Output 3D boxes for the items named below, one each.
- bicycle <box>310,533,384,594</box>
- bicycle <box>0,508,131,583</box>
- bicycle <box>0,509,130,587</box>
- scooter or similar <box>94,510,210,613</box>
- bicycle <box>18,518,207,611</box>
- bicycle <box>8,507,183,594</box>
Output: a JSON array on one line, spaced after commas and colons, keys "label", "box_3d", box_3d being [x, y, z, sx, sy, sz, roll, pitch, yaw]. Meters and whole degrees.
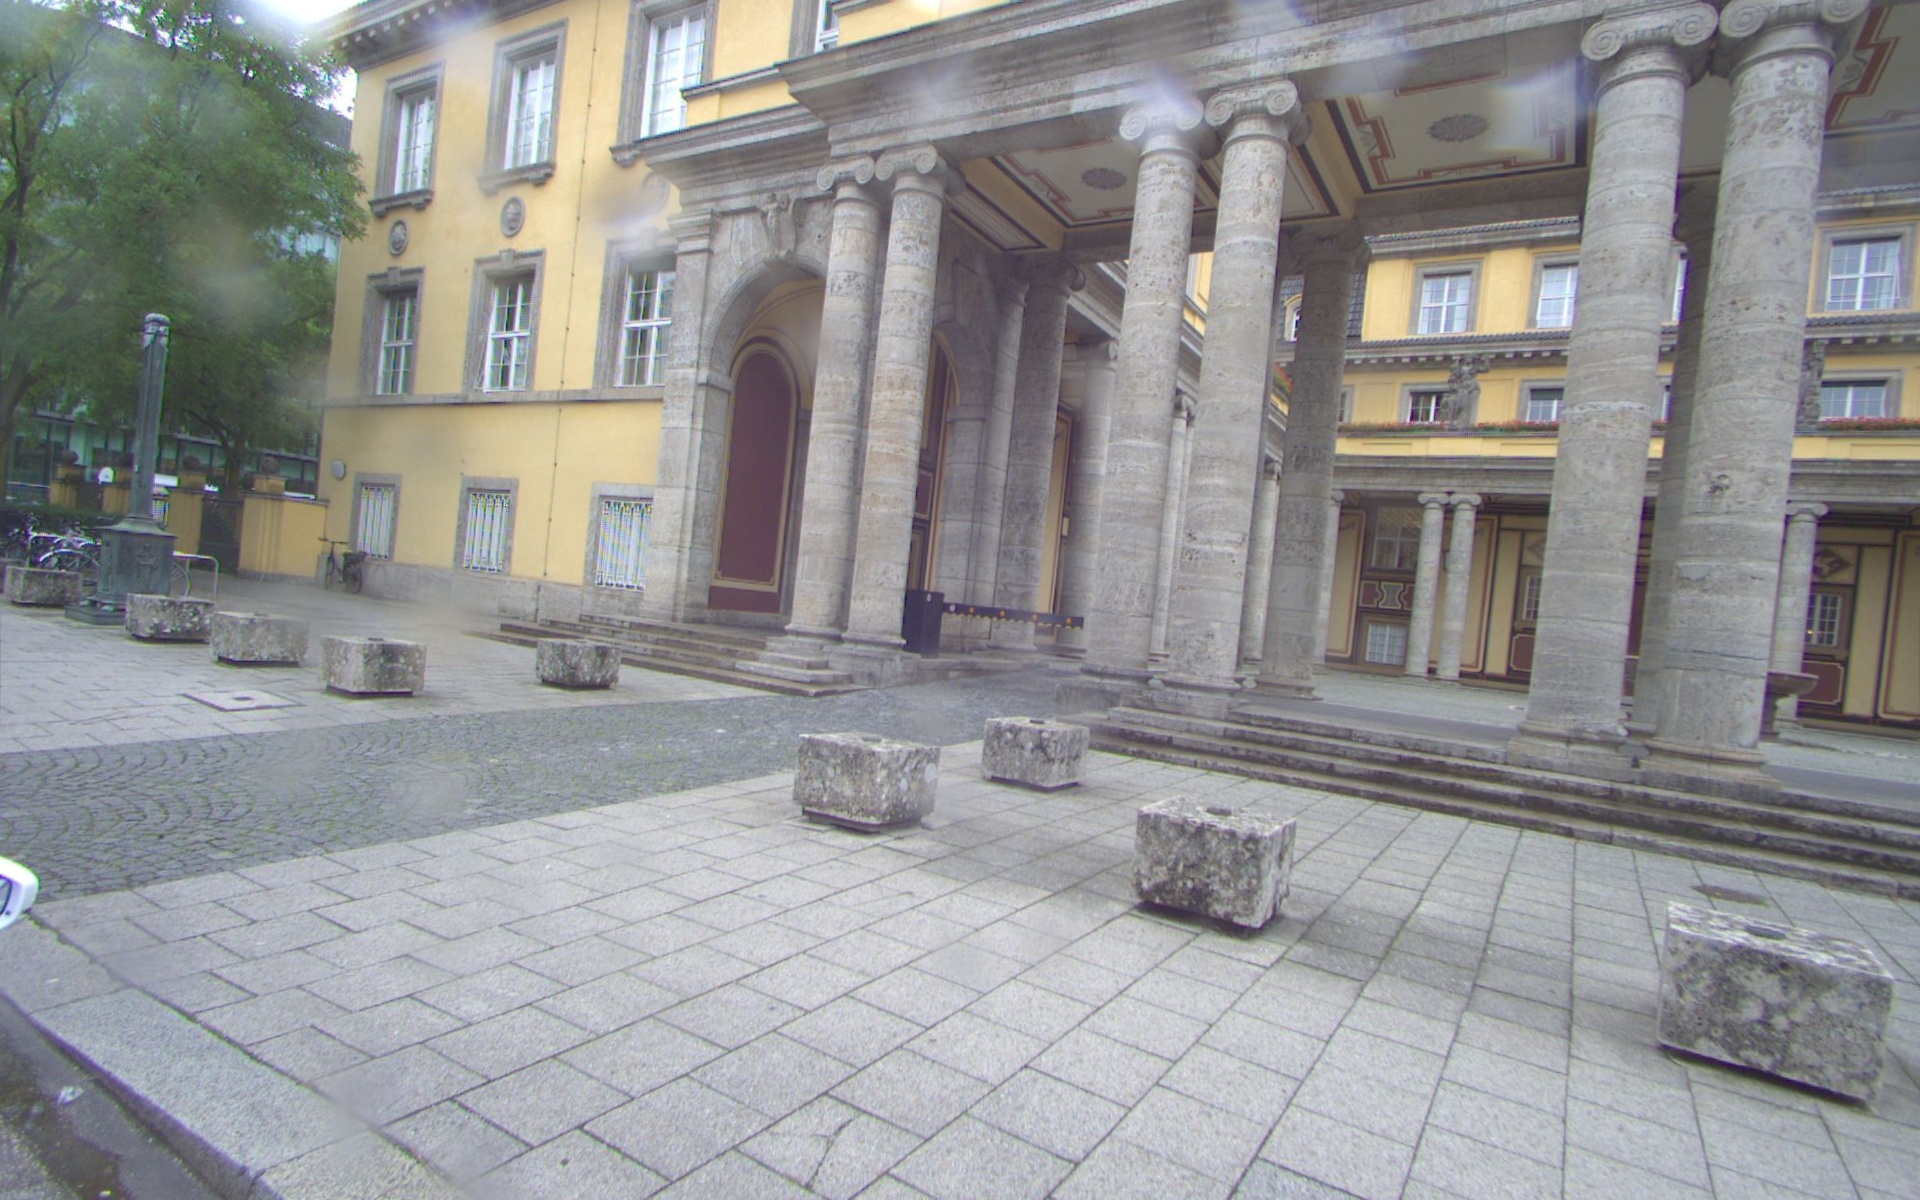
[{"label": "bicycle", "box_3d": [-13.737, -0.823, 22.514, 1.870, 1.169, 0.542, 7, 2, 31]}, {"label": "bicycle", "box_3d": [-15.545, -0.920, 17.268, 0.463, 1.128, 1.931, 7, 2, 33]}, {"label": "bicycle", "box_3d": [-15.032, -0.857, 16.626, 0.464, 1.128, 1.931, 7, 2, 34]}, {"label": "scooter or similar", "box_3d": [-10.672, -0.497, 13.308, 0.996, 1.238, 0.536, 5, 2, -13]}, {"label": "bicycle", "box_3d": [-11.738, -0.464, 14.018, 0.463, 1.128, 1.933, 7, 1, 29]}, {"label": "bicycle", "box_3d": [-13.142, -0.728, 15.363, 0.464, 1.128, 1.931, 7, 2, 34]}]
